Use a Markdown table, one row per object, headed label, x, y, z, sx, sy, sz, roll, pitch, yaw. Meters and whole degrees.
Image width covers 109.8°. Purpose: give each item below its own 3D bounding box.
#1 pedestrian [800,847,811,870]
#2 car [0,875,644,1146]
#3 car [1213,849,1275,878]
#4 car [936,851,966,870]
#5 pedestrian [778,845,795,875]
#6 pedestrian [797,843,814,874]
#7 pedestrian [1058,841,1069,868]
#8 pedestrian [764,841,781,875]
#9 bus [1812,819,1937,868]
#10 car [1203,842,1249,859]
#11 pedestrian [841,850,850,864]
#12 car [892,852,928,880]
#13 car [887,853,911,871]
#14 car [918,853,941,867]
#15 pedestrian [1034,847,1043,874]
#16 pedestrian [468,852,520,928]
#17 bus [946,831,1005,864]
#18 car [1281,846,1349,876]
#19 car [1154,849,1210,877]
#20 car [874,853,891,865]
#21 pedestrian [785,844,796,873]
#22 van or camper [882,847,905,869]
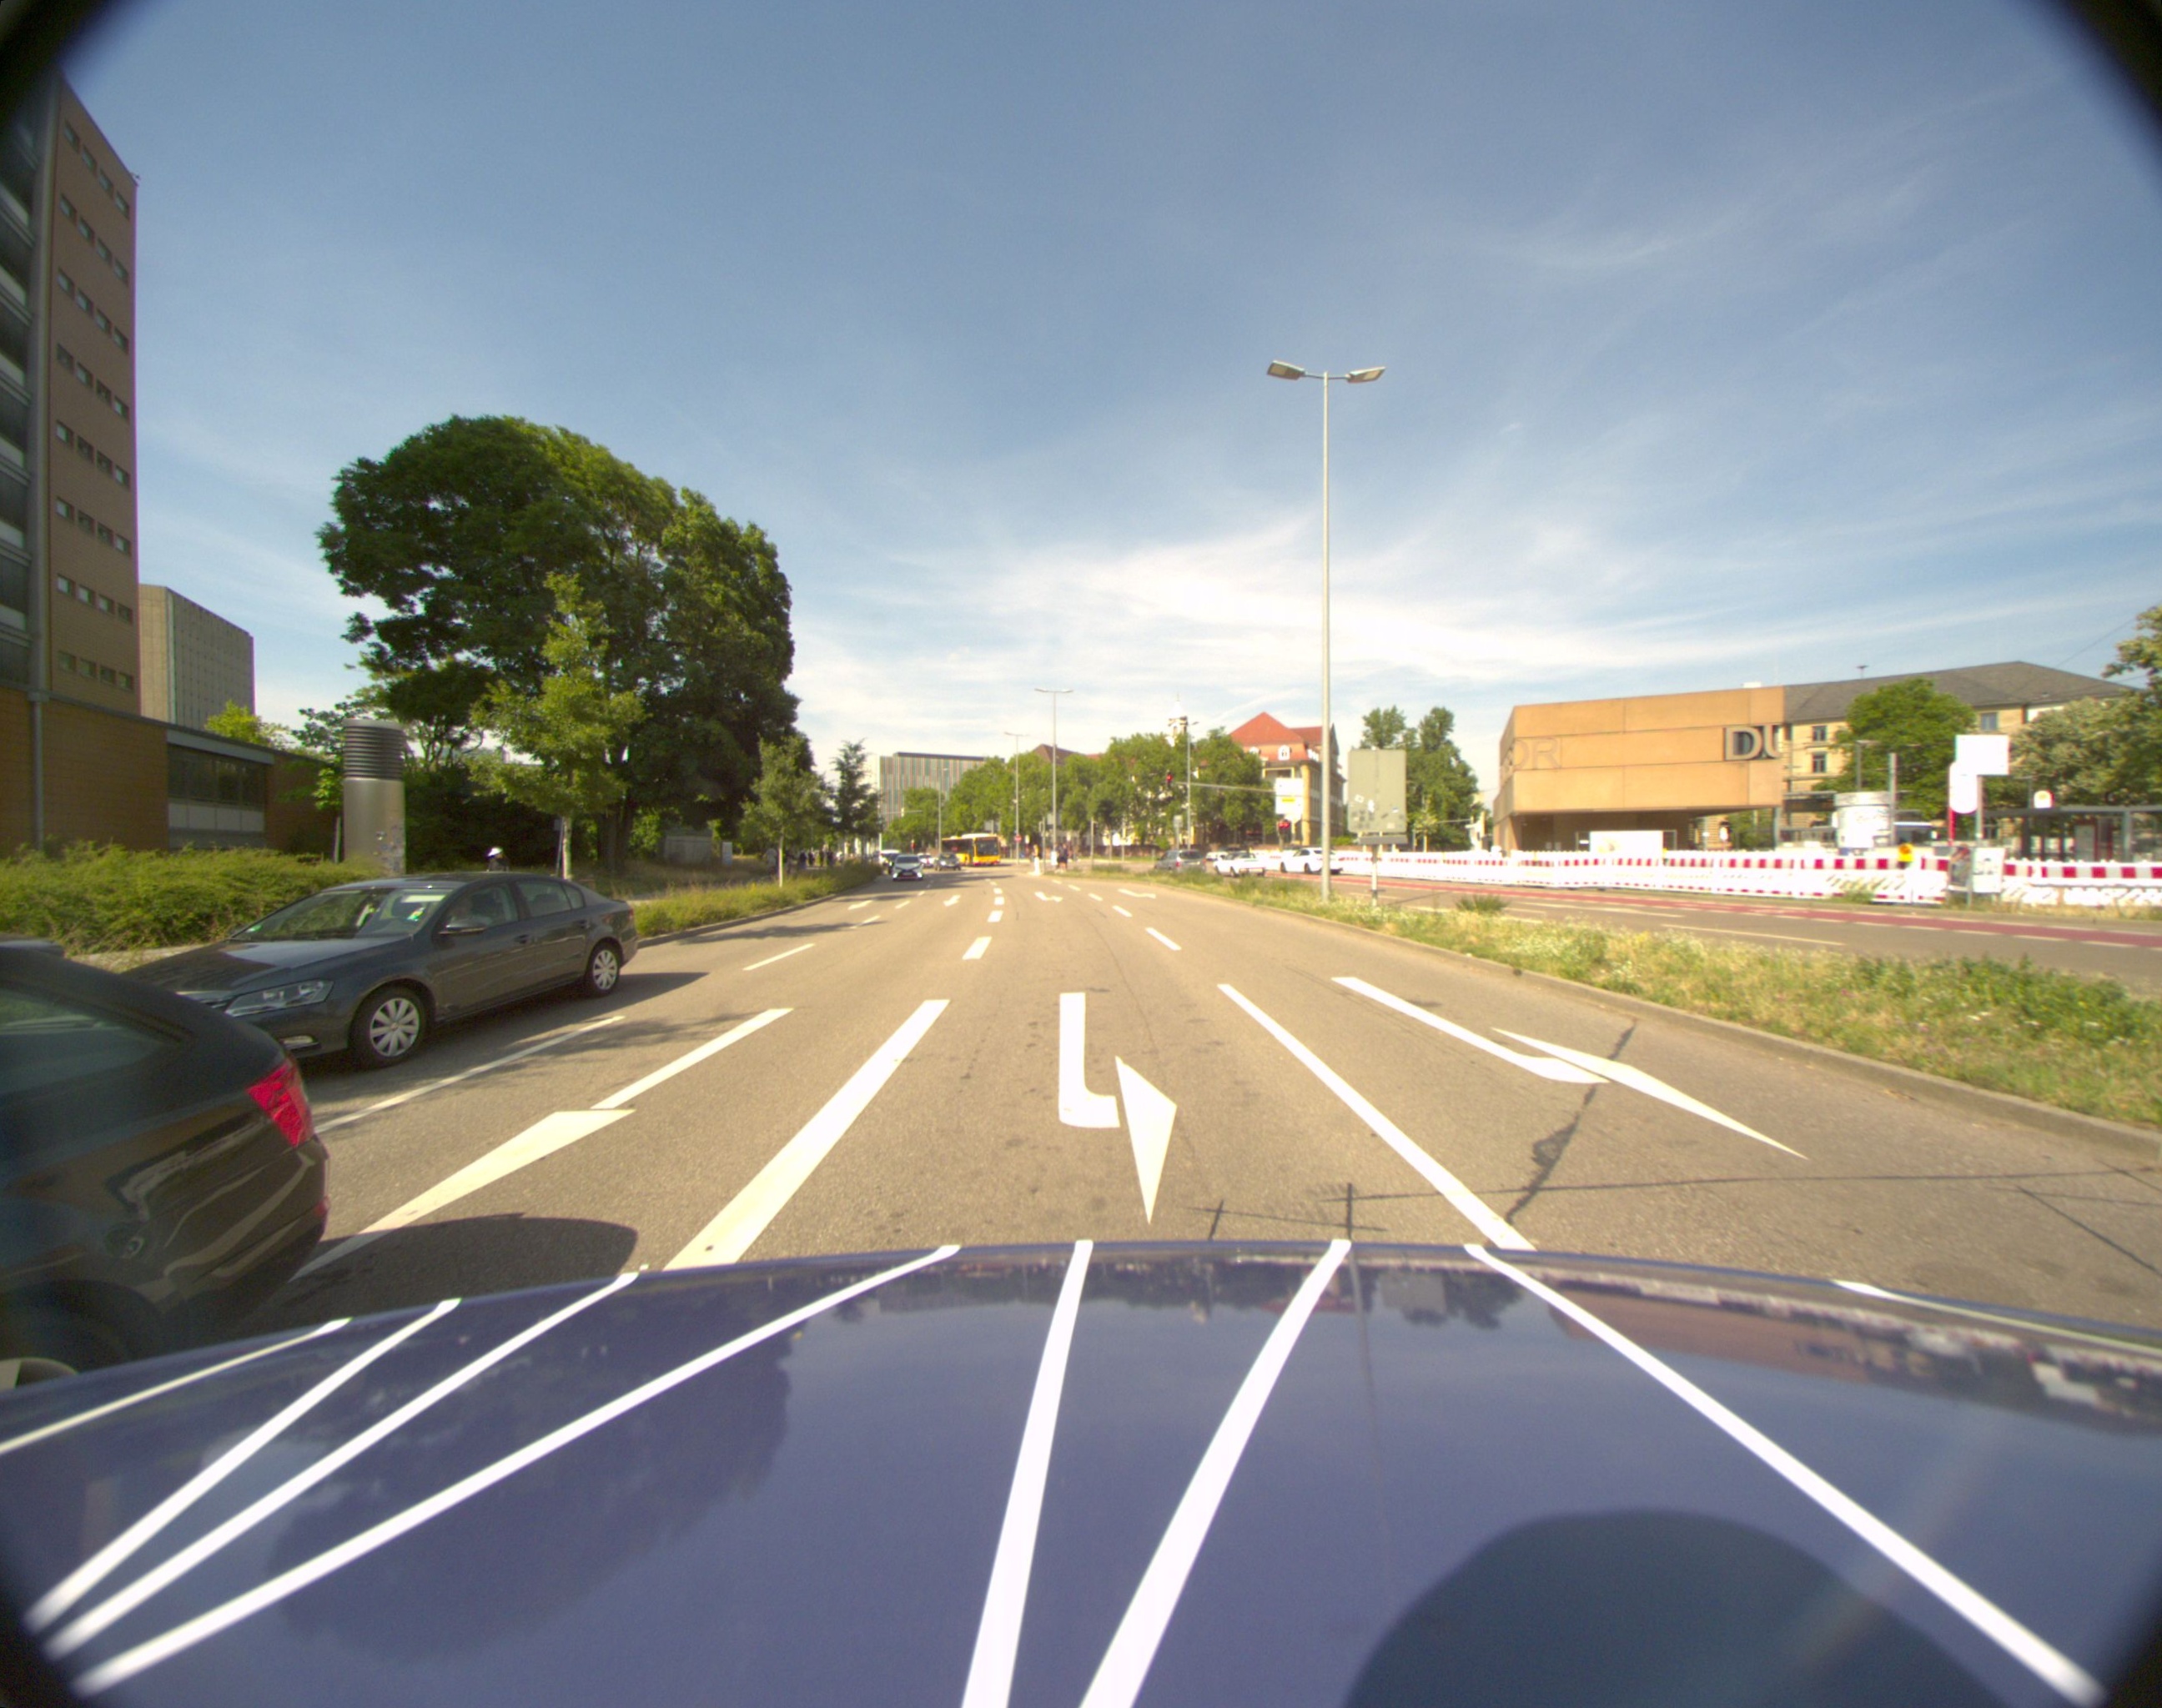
| label | x | y | z | sx | sy | sz | roll | pitch | yaw |
| --- | --- | --- | --- | --- | --- | --- | --- | --- | --- |
| pedestrian | -17.084 | 0.269 | 47.118 | 0.644 | 1.438 | 0.568 | 0 | 2 | -21 |
| car | -6.110 | 1.035 | 6.965 | 1.635 | 1.427 | 4.527 | -1 | 1 | -1 |
| car | 8.227 | 0.450 | 38.607 | 1.600 | 1.279 | 3.995 | -3 | 1 | -11 |
| car | -10.529 | 0.500 | 61.281 | 1.653 | 1.416 | 4.113 | -3 | 1 | -20 |
| pedestrian | -16.183 | 0.311 | 41.753 | 0.643 | 1.617 | 0.731 | 1 | 2 | 0 |
| pedestrian | -15.337 | 0.254 | 42.256 | 0.643 | 1.664 | 0.752 | 1 | 2 | 0 |
| pedestrian | -1.085 | 0.016 | 47.699 | 0.643 | 1.664 | 0.752 | 0 | 1 | -1 |
| pedestrian | -16.941 | 0.231 | 41.775 | 0.643 | 1.827 | 0.731 | 1 | 2 | 0 |
| bus | 58.697 | -0.757 | 56.696 | 2.751 | 3.304 | 11.810 | 0 | 1 | 27 |
| car | 13.894 | -0.354 | 72.754 | 4.118 | 1.435 | 1.756 | -3 | 2 | -25 |
| pedestrian | -18.458 | 0.239 | 59.552 | 0.644 | 1.125 | 0.751 | 1 | 2 | -16 |
| car | -9.750 | 0.649 | 43.194 | 1.684 | 1.466 | 3.754 | -3 | 1 | -16 |
| car | -13.456 | 0.586 | 56.081 | 1.411 | 1.287 | 3.575 | -1 | 1 | -18 |
| car | -14.247 | 0.550 | 71.285 | 1.493 | 1.286 | 3.480 | 2 | 0 | -21 |
| pedestrian | -2.646 | 0.399 | 47.336 | 0.541 | 1.664 | 0.752 | 0 | 1 | 0 |
| pedestrian | -13.210 | 0.796 | 17.110 | 0.593 | 1.655 | 0.731 | 1 | 2 | 0 |
| bus | -10.634 | -0.590 | 75.130 | 2.800 | 3.021 | 12.124 | -1 | 0 | -23 |
| car | 12.514 | 0.331 | 40.931 | 1.804 | 1.412 | 3.995 | -3 | 1 | -11 |
| car | 5.088 | 0.404 | 38.925 | 1.600 | 1.279 | 3.995 | -3 | 1 | -11 |
| car | -21.904 | 0.494 | 83.636 | 1.492 | 1.286 | 3.480 | 0 | 1 | -20 |
| pedestrian | -17.887 | 0.296 | 46.779 | 0.644 | 1.754 | 0.474 | 0 | 2 | -21 |
| van or camper | -17.488 | 0.365 | 70.762 | 1.731 | 1.877 | 4.914 | -3 | 1 | -17 |
